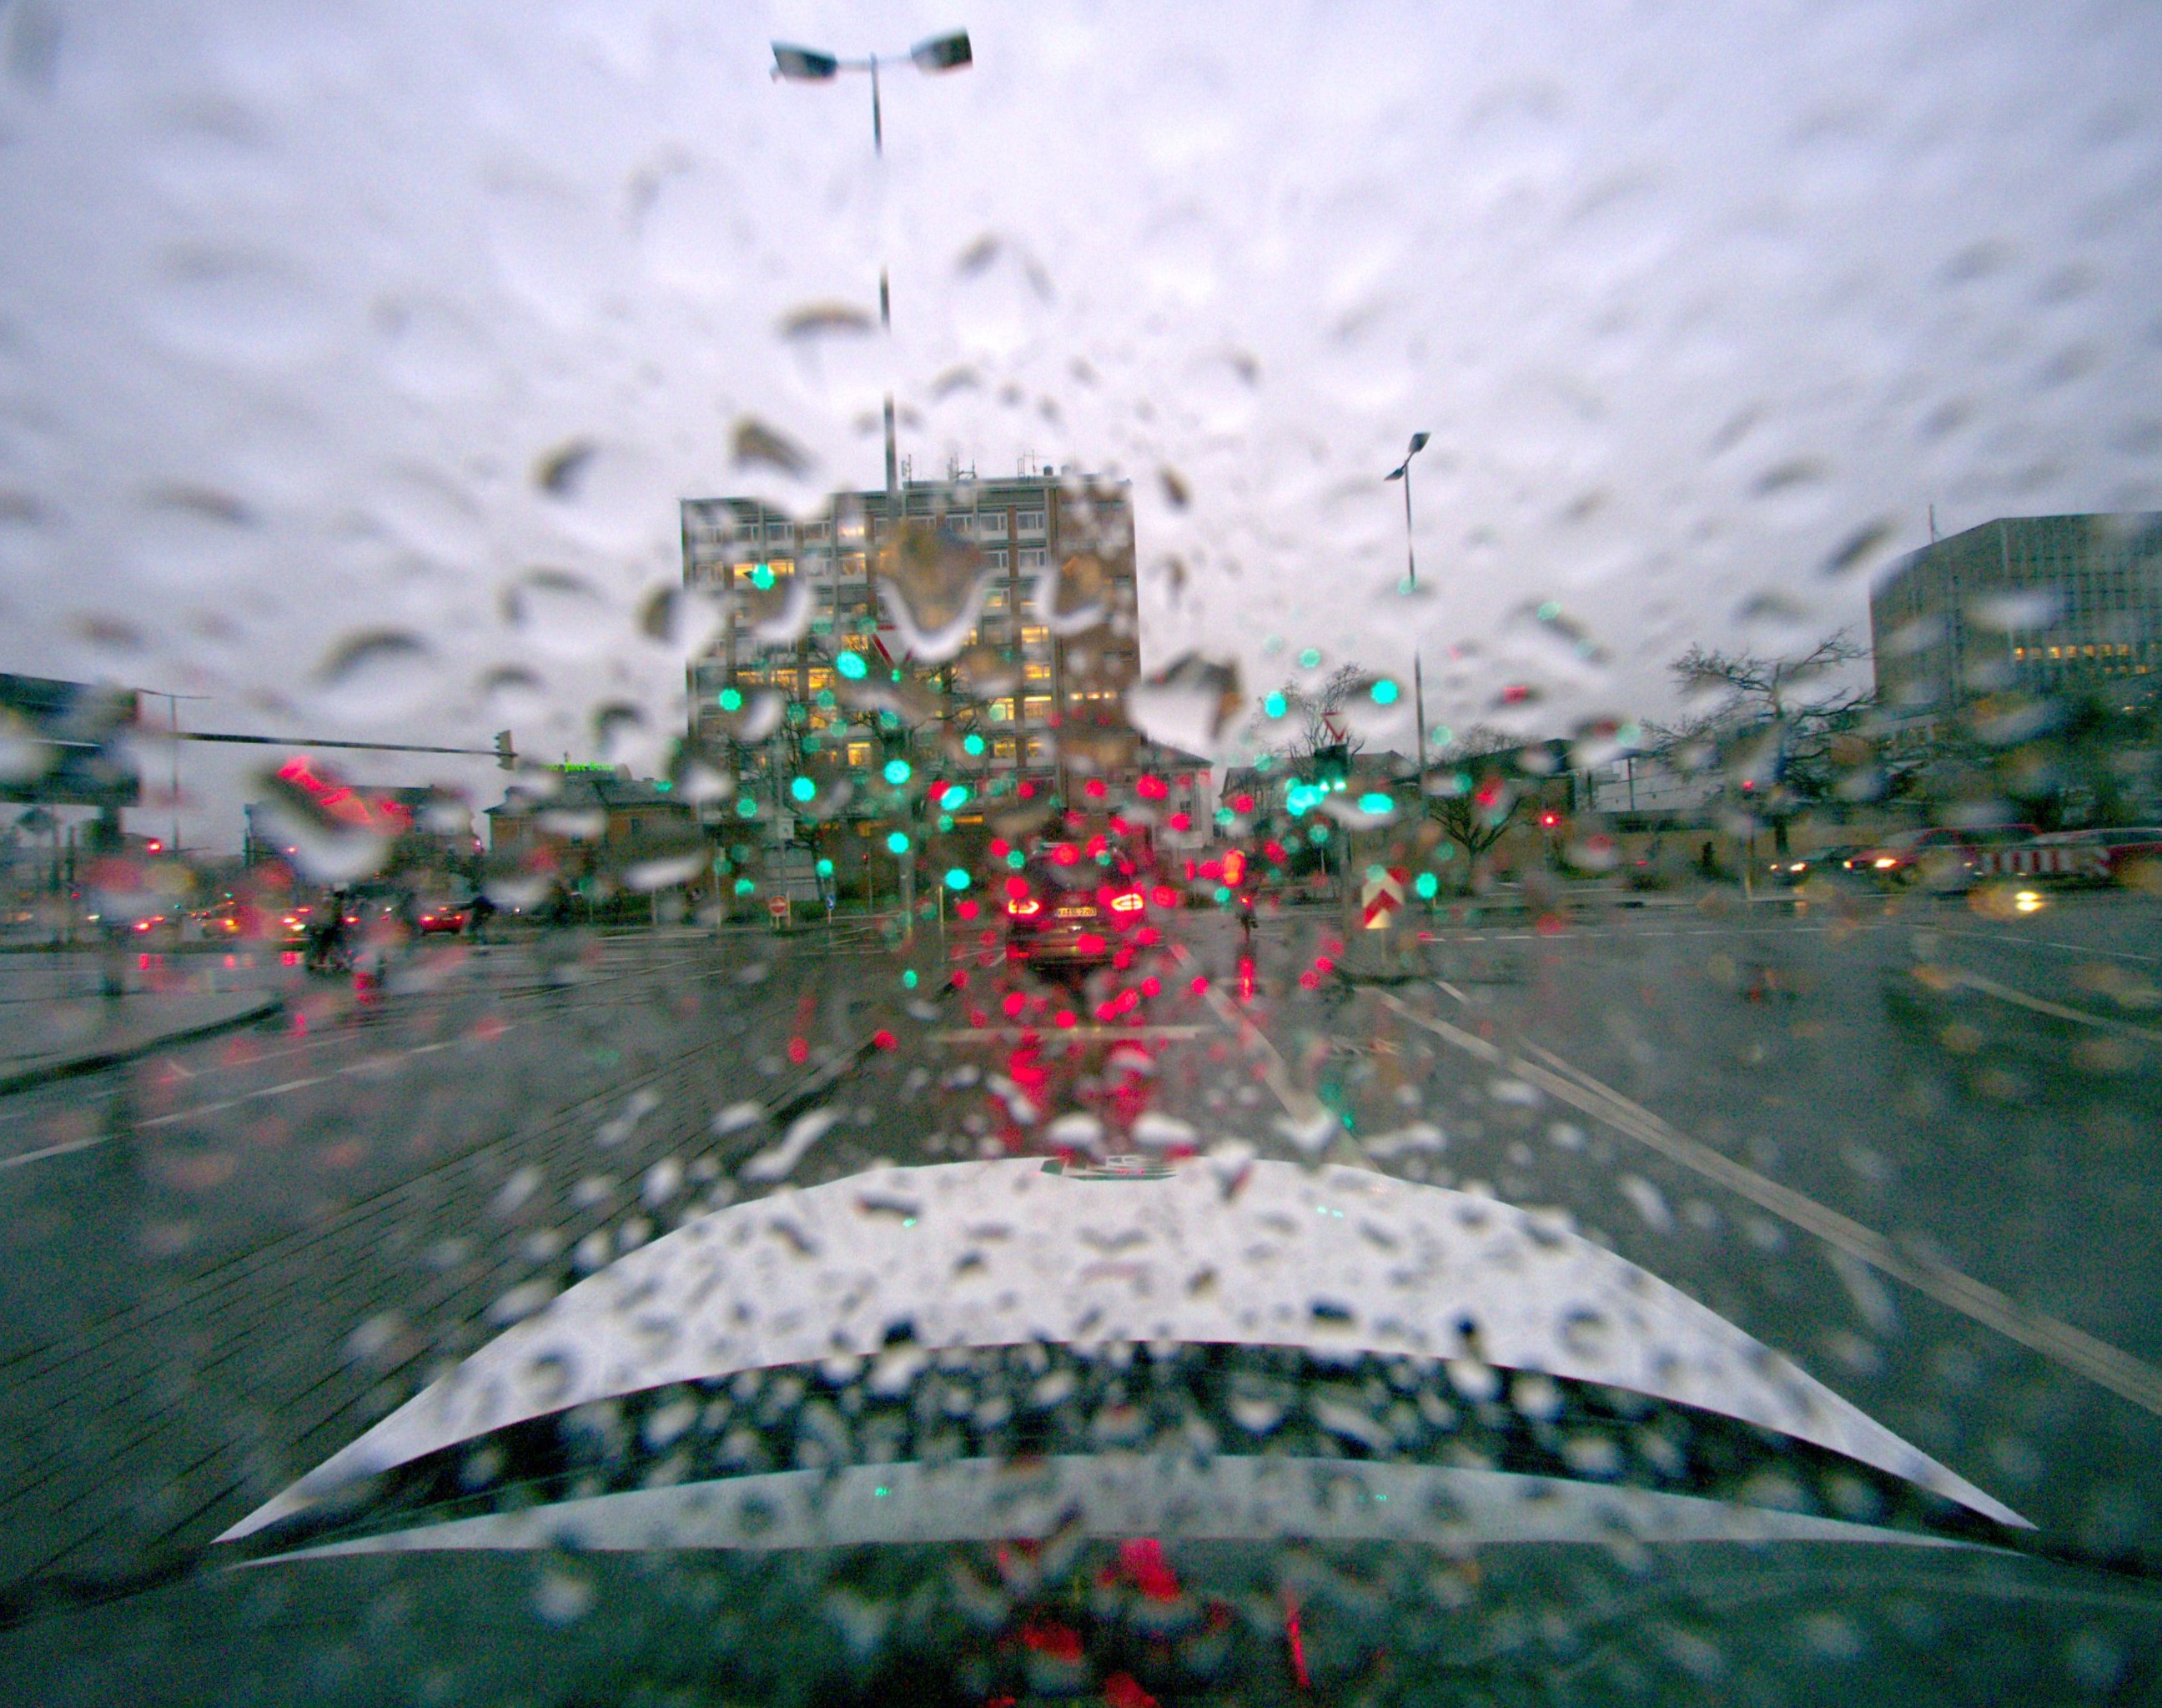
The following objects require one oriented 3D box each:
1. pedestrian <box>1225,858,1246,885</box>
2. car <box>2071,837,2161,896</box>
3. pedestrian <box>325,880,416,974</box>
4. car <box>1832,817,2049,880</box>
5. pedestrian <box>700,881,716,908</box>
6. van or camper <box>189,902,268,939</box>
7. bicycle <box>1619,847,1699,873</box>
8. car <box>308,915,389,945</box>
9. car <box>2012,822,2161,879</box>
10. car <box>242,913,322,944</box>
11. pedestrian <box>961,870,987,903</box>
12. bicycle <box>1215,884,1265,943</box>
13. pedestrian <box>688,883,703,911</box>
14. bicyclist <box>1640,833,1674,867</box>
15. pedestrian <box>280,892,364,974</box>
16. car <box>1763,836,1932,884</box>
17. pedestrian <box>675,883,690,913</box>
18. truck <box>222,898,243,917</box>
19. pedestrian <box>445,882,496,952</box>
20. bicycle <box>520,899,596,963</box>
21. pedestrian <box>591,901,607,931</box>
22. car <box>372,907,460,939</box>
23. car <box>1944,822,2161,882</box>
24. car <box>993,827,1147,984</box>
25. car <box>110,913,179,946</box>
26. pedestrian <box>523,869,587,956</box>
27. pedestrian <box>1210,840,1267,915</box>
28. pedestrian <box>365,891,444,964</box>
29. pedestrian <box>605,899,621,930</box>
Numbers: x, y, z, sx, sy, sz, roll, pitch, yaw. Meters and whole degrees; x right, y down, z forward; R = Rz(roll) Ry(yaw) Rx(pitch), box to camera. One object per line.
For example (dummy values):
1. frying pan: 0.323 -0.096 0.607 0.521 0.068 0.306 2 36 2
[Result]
1. pedestrian: 9.817 1.083 51.607 0.901 1.687 0.933 -1 1 43
2. car: 35.951 0.338 26.618 4.435 1.749 2.003 -3 -1 5
3. pedestrian: -16.318 1.636 18.733 1.024 2.050 1.221 -1 -1 18
4. car: 28.730 -0.175 27.368 4.906 1.749 2.003 -3 -1 5
5. pedestrian: -23.603 2.564 51.497 0.724 1.688 0.751 -2 -1 -38
6. van or camper: -53.067 4.163 50.680 4.923 2.110 2.222 -4 -3 29
7. bicycle: 26.515 0.279 37.437 2.873 1.015 0.797 -3 -1 13
8. car: -39.324 4.082 43.711 4.070 1.404 1.673 -4 -3 23
9. car: 36.882 -0.127 29.378 3.966 1.838 2.004 -3 -1 6
10. car: -45.557 4.243 46.417 4.484 1.601 1.801 -4 -4 26
11. pedestrian: -5.946 1.805 45.300 1.057 1.687 0.814 -4 0 22
12. bicycle: 2.962 1.079 15.340 0.559 0.947 2.096 -3 0 2
13. pedestrian: -24.098 2.698 50.896 0.673 1.687 0.605 -4 1 -37
14. bicyclist: 26.484 -0.166 37.451 0.984 1.489 0.770 -4 -1 14
15. pedestrian: -18.276 1.868 19.635 1.067 1.858 1.031 0 -1 -11
16. car: 28.538 0.221 30.430 4.435 1.486 1.777 -3 -1 5
17. pedestrian: -24.715 2.734 50.506 0.588 1.781 0.760 -4 -1 -37
18. truck: -132.382 8.380 127.053 2.012 2.691 5.051 -2 -1 -44
19. pedestrian: -18.266 1.867 24.379 1.113 2.005 0.840 0 -1 -30
20. bicycle: -11.130 1.601 17.390 0.622 1.176 1.866 -4 -1 -10
21. pedestrian: -31.524 4.036 53.235 0.814 1.930 0.751 0 -1 -37
22. car: -33.314 3.446 40.794 3.825 1.482 1.715 -3 -4 22
23. car: 27.372 -0.067 22.636 4.463 1.376 1.934 -3 -1 5
24. car: -0.043 0.669 11.884 1.771 1.800 4.426 -2 -2 2
25. car: -56.252 4.516 48.916 3.949 1.772 1.902 -4 -2 28
26. pedestrian: -11.158 1.222 17.313 0.715 1.734 0.978 -4 -1 -10
27. pedestrian: 2.965 0.433 15.411 0.871 1.316 0.848 -3 -1 1
28. pedestrian: -18.104 1.946 21.831 1.228 1.858 1.034 0 -1 -3
29. pedestrian: -31.044 4.010 54.024 0.814 2.014 0.751 0 -1 -37
